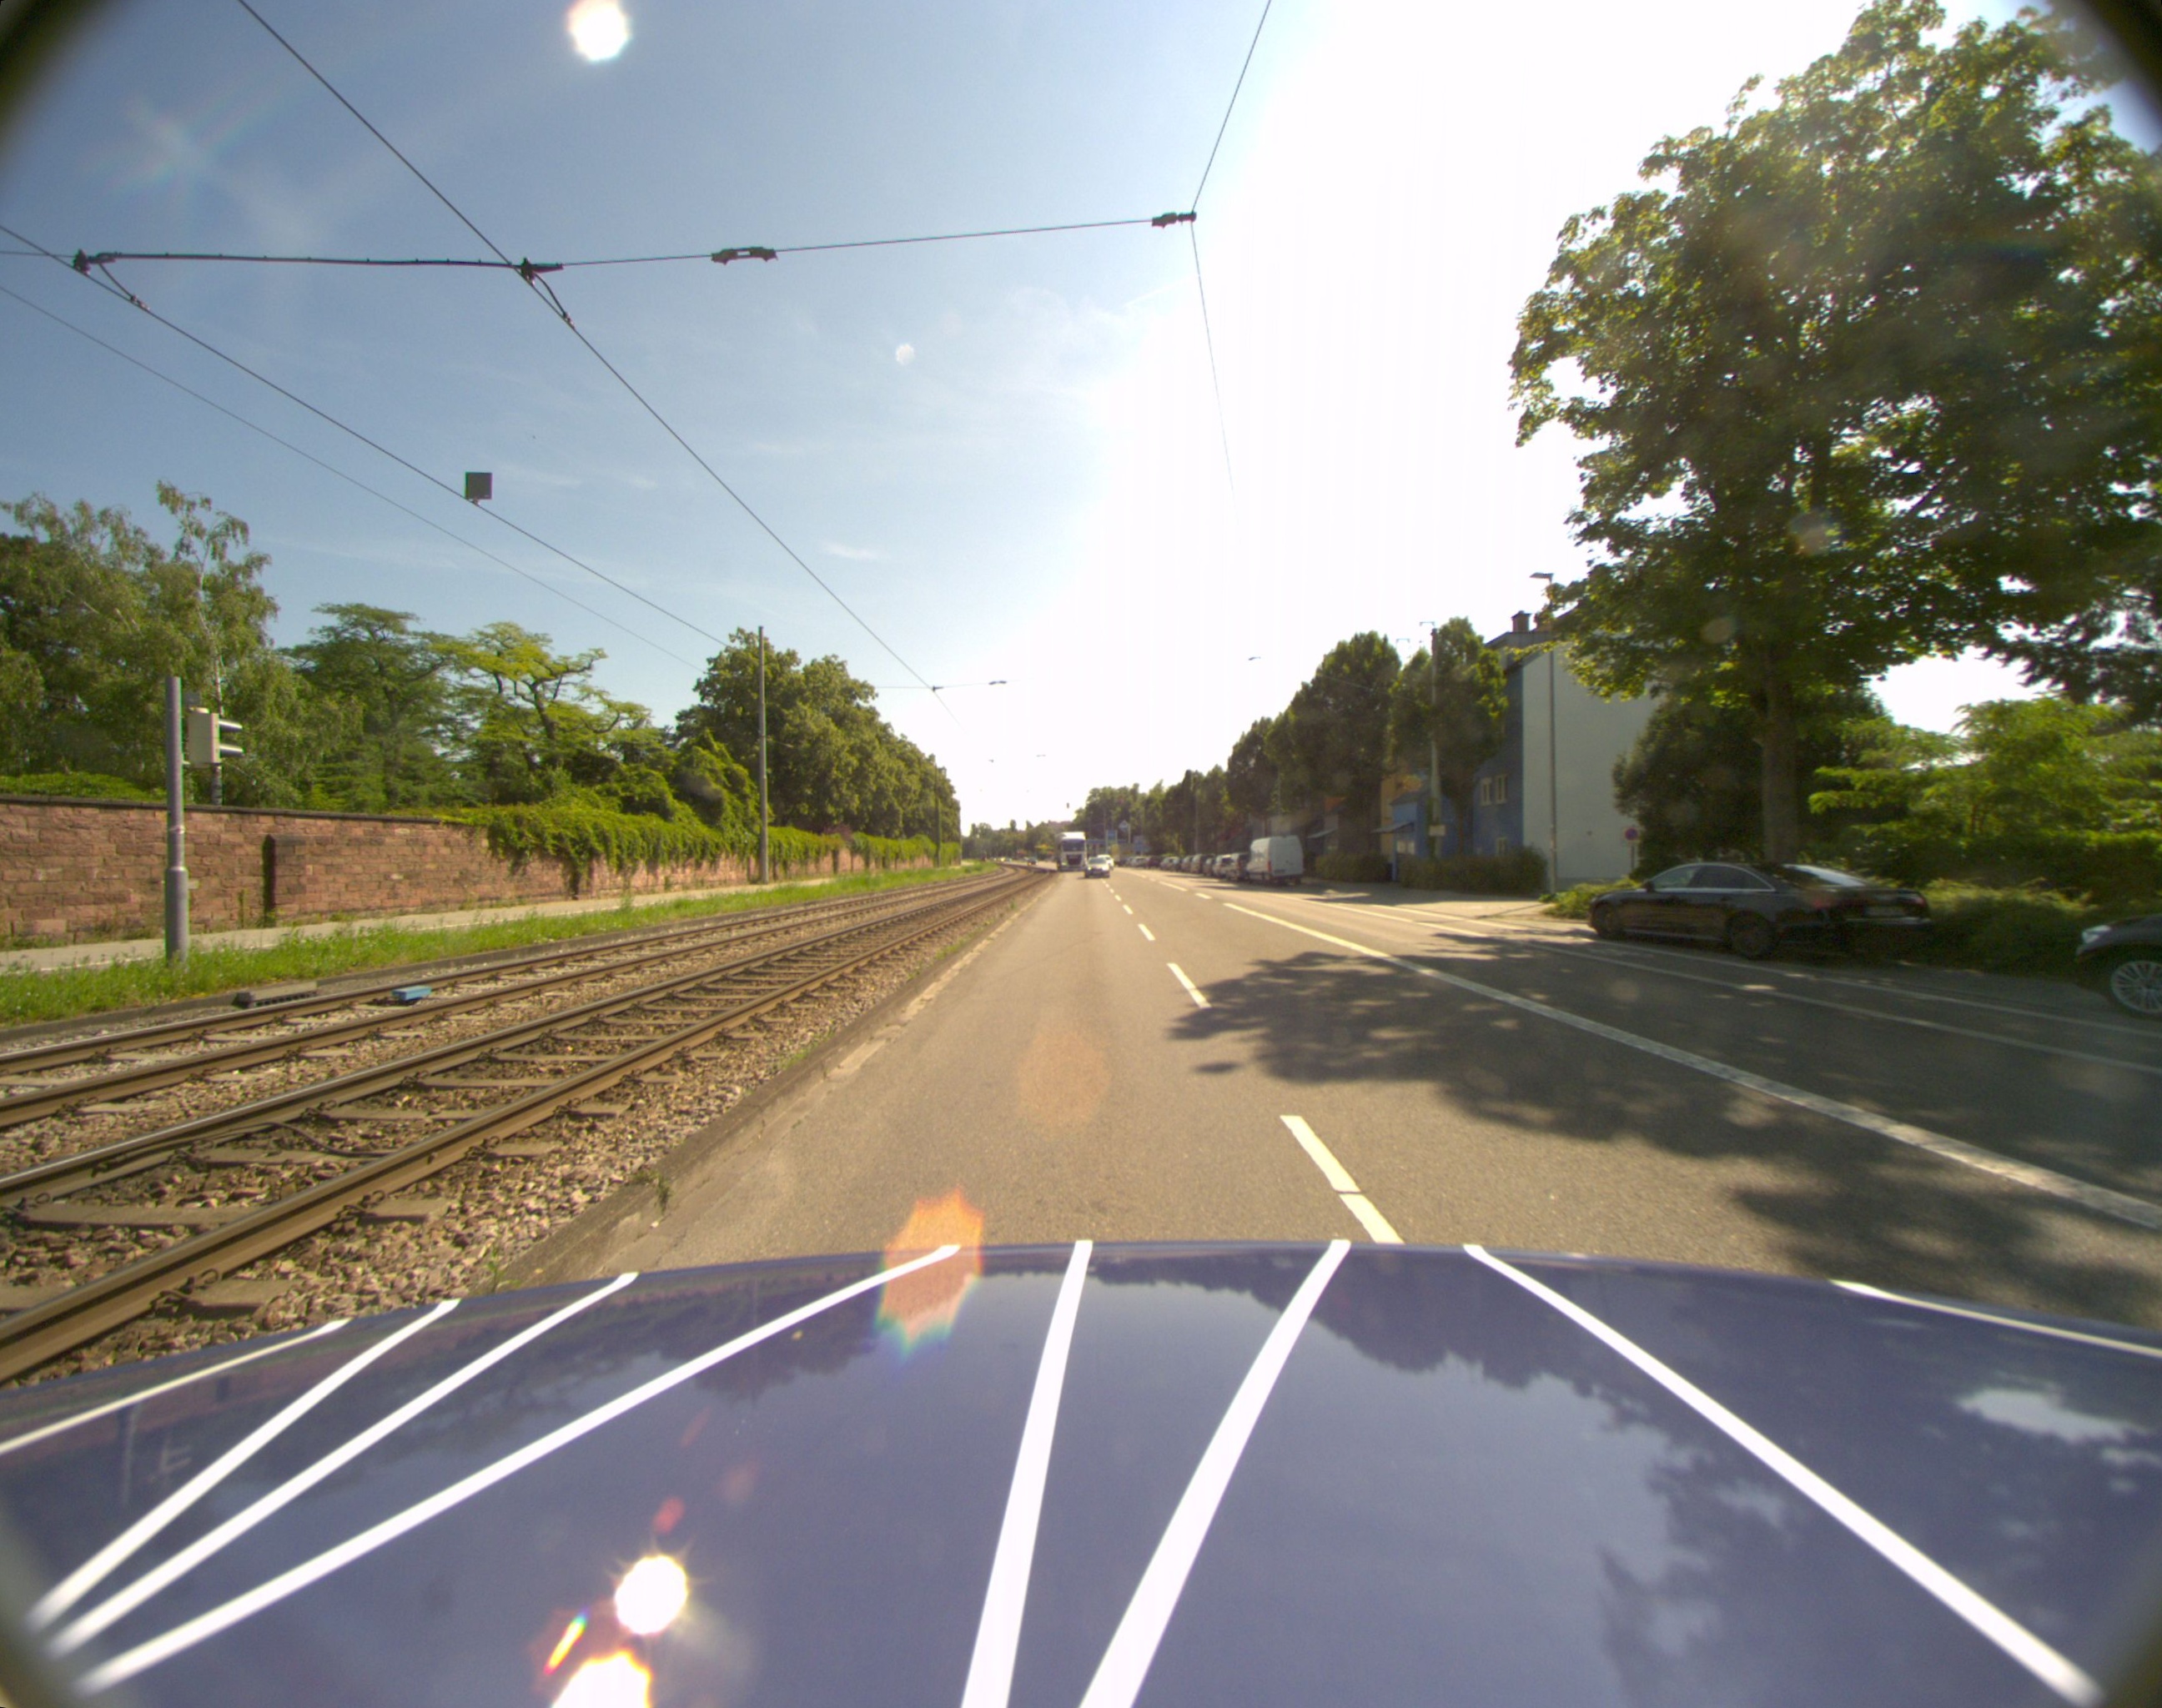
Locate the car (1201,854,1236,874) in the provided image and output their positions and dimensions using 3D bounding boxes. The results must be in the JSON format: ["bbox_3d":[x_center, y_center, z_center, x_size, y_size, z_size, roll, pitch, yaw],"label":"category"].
[{"bbox_3d":[11.228,0.767,62.292,1.871,1.447,4.074,-4,1,-3],"label":"car"}]

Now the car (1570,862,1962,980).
[{"bbox_3d":[10.581,0.903,12.420,1.845,1.457,4.909,0,0,-3],"label":"car"}]

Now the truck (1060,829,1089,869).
[{"bbox_3d":[-0.572,-0.466,80.260,2.805,3.926,11.943,0,0,1],"label":"truck"}]

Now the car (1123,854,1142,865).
[{"bbox_3d":[7.397,0.812,109.365,1.915,1.469,4.213,-2,1,-6],"label":"car"}]

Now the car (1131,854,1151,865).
[{"bbox_3d":[8.292,0.720,105.007,2.040,1.490,4.130,-2,1,-6],"label":"car"}]

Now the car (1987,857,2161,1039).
[{"bbox_3d":[10.543,0.852,5.667,1.766,1.596,4.893,-1,0,0],"label":"car"}]

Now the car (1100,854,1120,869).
[{"bbox_3d":[3.010,0.774,80.138,1.785,1.538,4.393,-2,0,-2],"label":"car"}]

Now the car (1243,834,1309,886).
[{"bbox_3d":[11.017,0.313,43.541,1.998,2.661,7.086,-4,0,1],"label":"car"}]

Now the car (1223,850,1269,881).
[{"bbox_3d":[11.146,0.728,51.623,1.998,1.855,4.966,-5,0,1],"label":"car"}]

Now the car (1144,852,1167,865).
[{"bbox_3d":[9.433,0.584,96.995,1.911,1.567,4.929,-2,1,-6],"label":"car"}]

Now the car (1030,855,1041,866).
[{"bbox_3d":[-8.329,1.185,138.924,1.854,1.707,3.998,-2,1,-3],"label":"car"}]

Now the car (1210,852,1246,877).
[{"bbox_3d":[11.023,0.755,57.261,1.852,1.693,4.540,-4,1,1],"label":"car"}]

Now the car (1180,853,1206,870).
[{"bbox_3d":[10.712,0.693,72.782,1.681,1.598,4.164,-2,1,-3],"label":"car"}]

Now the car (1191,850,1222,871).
[{"bbox_3d":[11.139,0.523,67.648,1.834,1.718,4.348,-3,1,-3],"label":"car"}]

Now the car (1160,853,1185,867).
[{"bbox_3d":[10.316,0.680,85.820,1.682,1.437,4.835,-2,1,-6],"label":"car"}]

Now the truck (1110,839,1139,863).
[{"bbox_3d":[6.626,-0.412,117.058,3.165,3.533,8.779,0,0,-6],"label":"truck"}]

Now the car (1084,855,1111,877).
[{"bbox_3d":[1.113,0.810,52.951,1.747,1.421,5.041,-1,0,1],"label":"car"}]

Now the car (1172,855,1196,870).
[{"bbox_3d":[10.661,0.826,78.897,1.681,1.462,4.212,-2,1,-3],"label":"car"}]
